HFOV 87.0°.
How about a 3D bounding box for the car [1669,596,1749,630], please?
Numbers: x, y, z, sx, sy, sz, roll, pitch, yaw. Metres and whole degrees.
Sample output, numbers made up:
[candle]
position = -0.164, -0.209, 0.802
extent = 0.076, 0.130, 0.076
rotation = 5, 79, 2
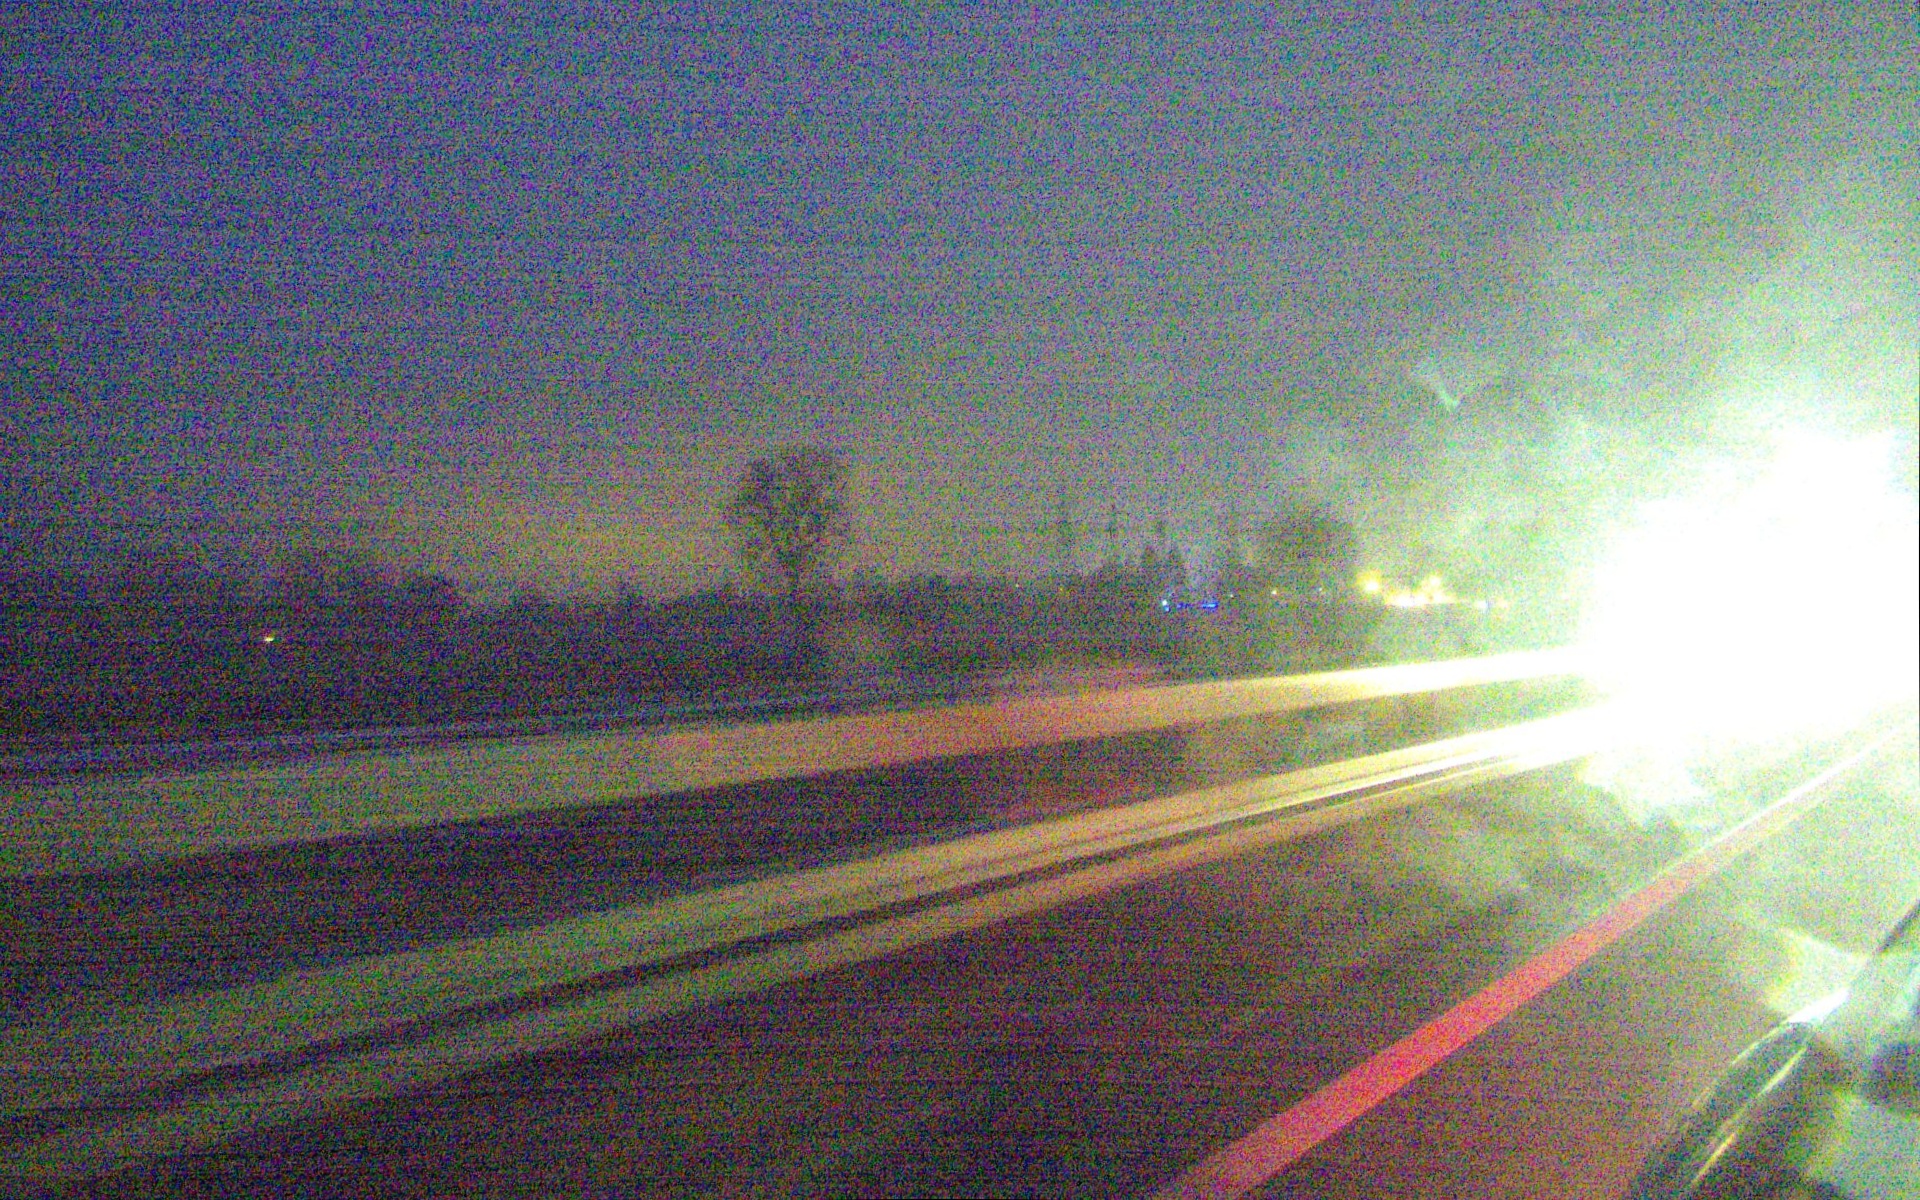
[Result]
[car]
position = 42.218, 0.770, 57.156
extent = 1.968, 1.770, 4.086
rotation = -3, -2, 11
